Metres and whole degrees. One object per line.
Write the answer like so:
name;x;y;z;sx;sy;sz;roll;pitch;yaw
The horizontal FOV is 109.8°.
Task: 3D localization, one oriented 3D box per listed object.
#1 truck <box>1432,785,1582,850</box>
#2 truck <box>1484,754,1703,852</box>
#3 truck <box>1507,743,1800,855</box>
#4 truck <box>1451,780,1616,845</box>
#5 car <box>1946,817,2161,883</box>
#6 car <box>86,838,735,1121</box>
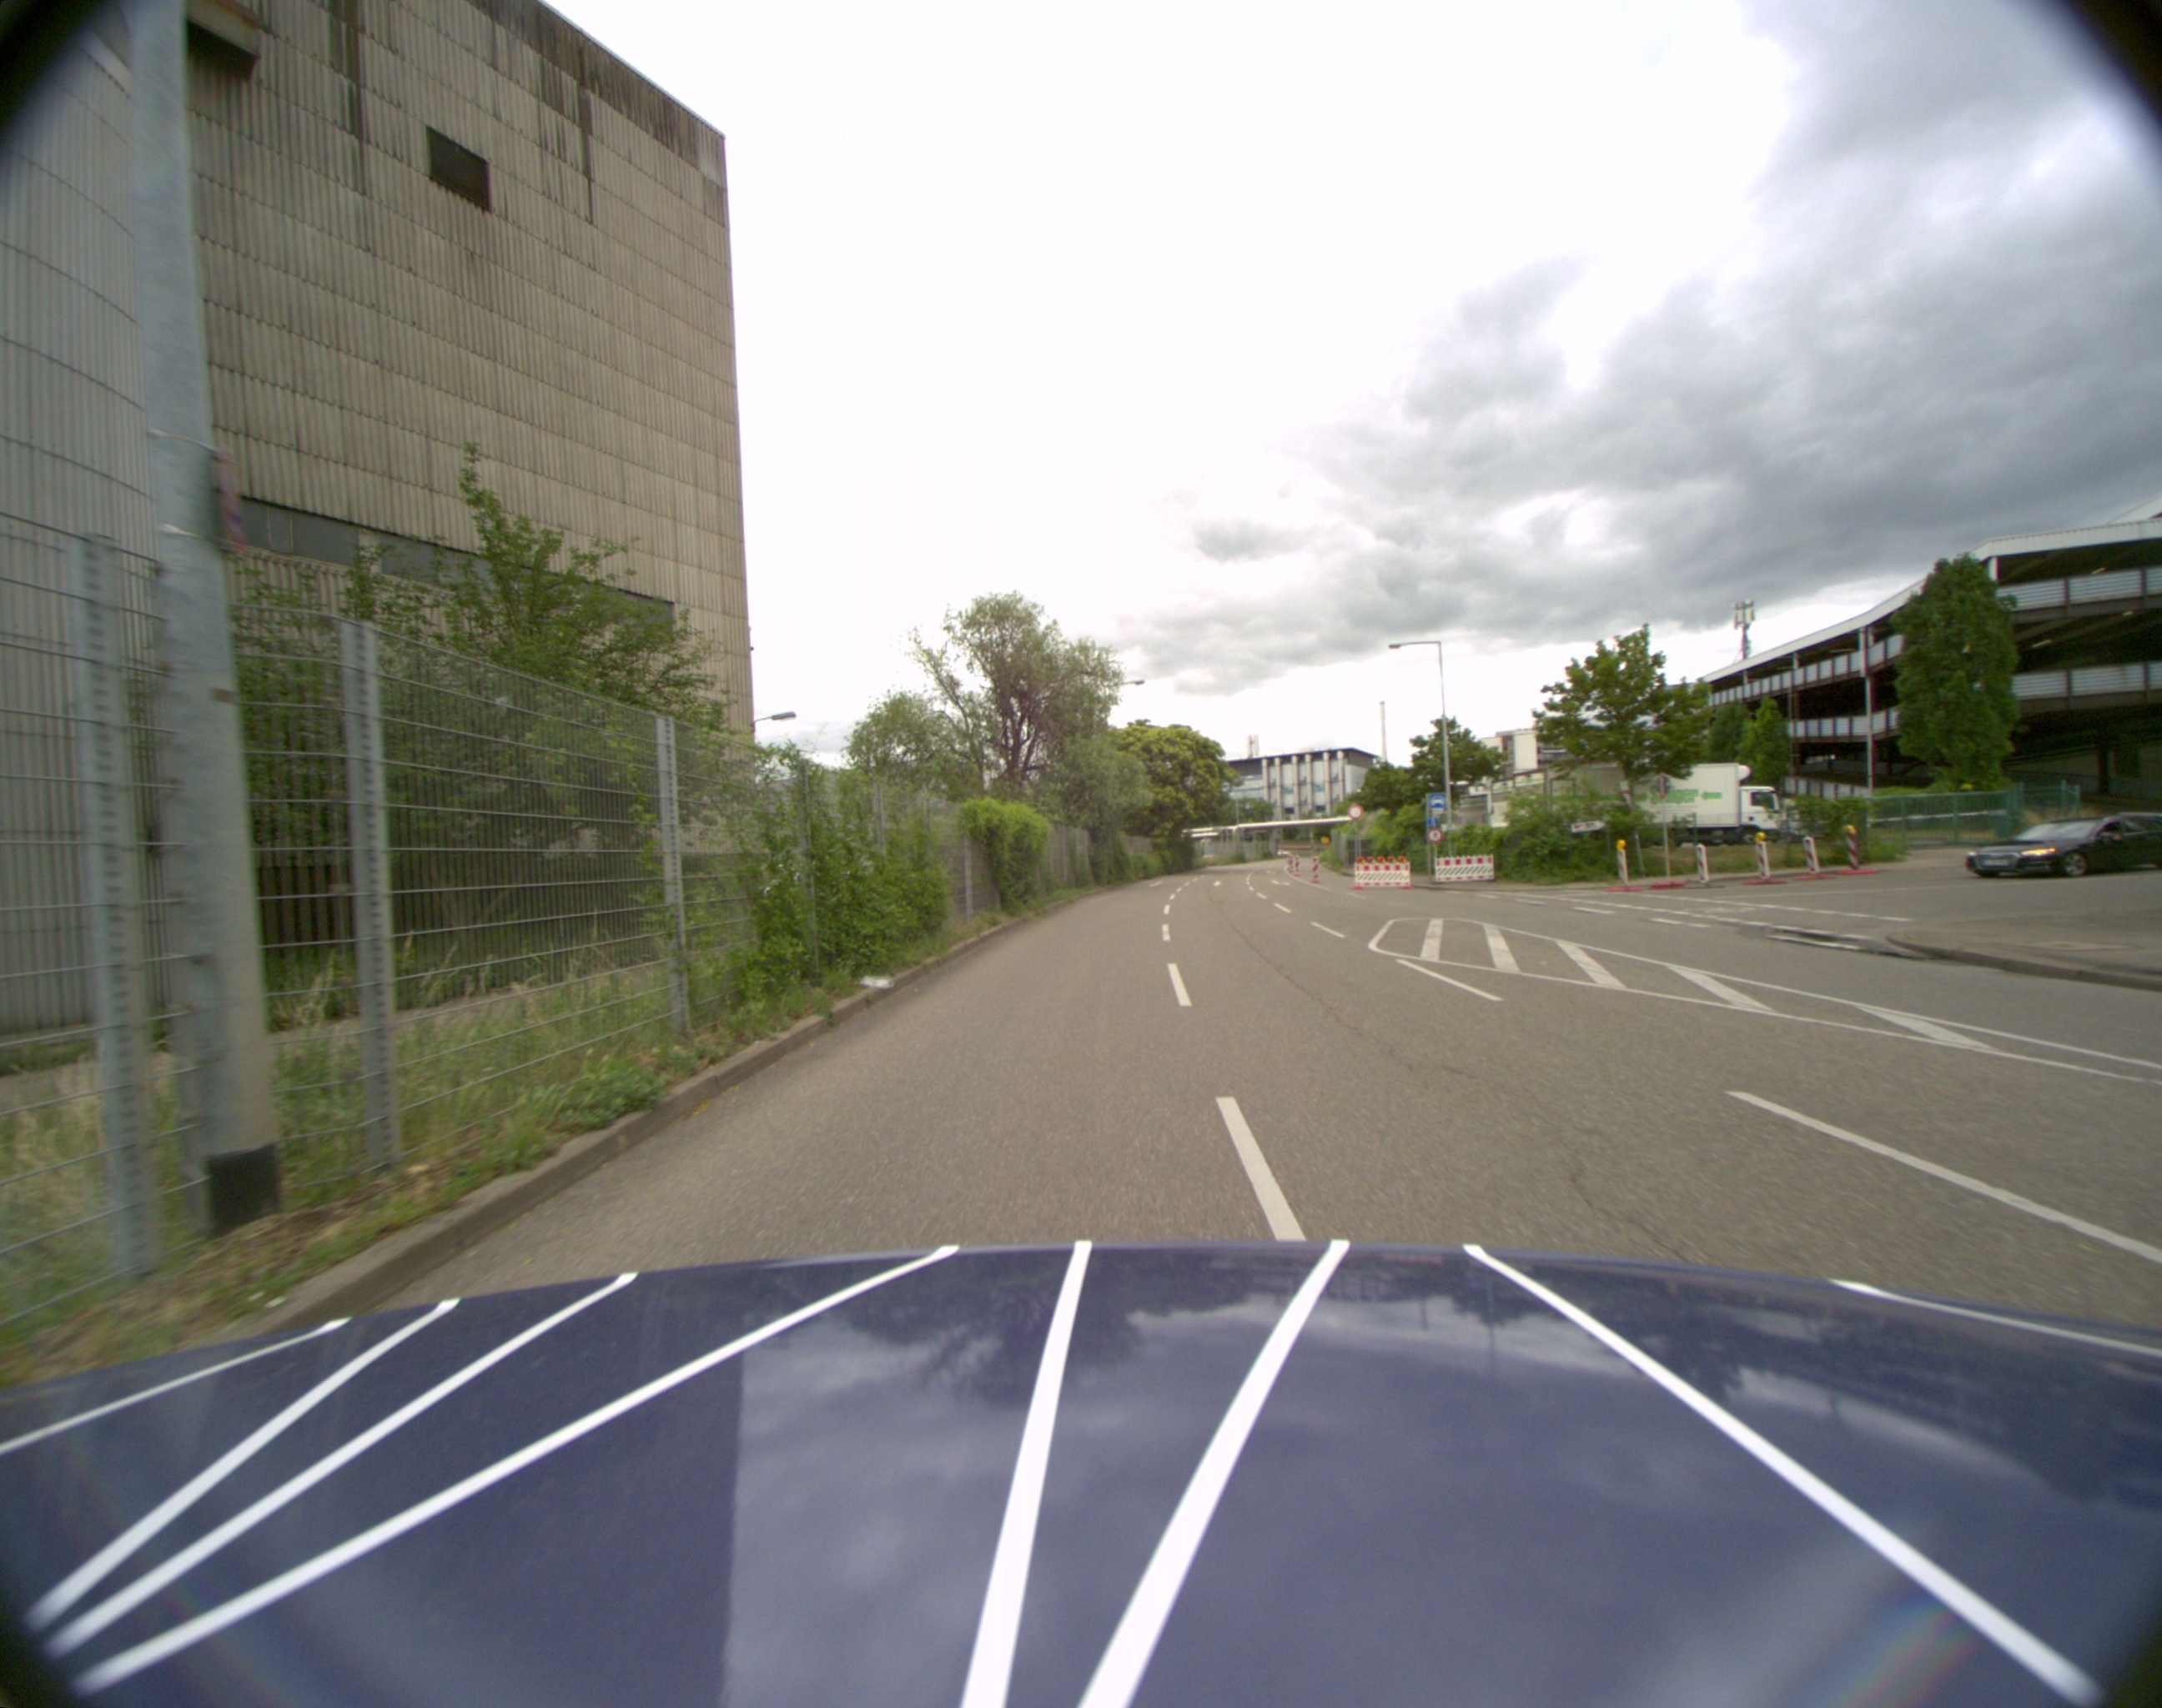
truck;25.988;-2.231;46.463;7.868;3.519;3.048;-3;2;-11
truck;23.456;-2.269;35.129;7.859;3.968;3.052;-3;2;3
truck;23.641;-2.203;31.843;9.642;3.968;3.052;-3;2;4
truck;25.236;-2.297;42.477;7.868;3.232;3.048;-3;2;-11
car;25.270;-0.117;19.456;4.386;1.400;1.801;-3;1;-4
car;-6.095;0.902;8.006;1.997;2.002;4.848;-2;1;9
